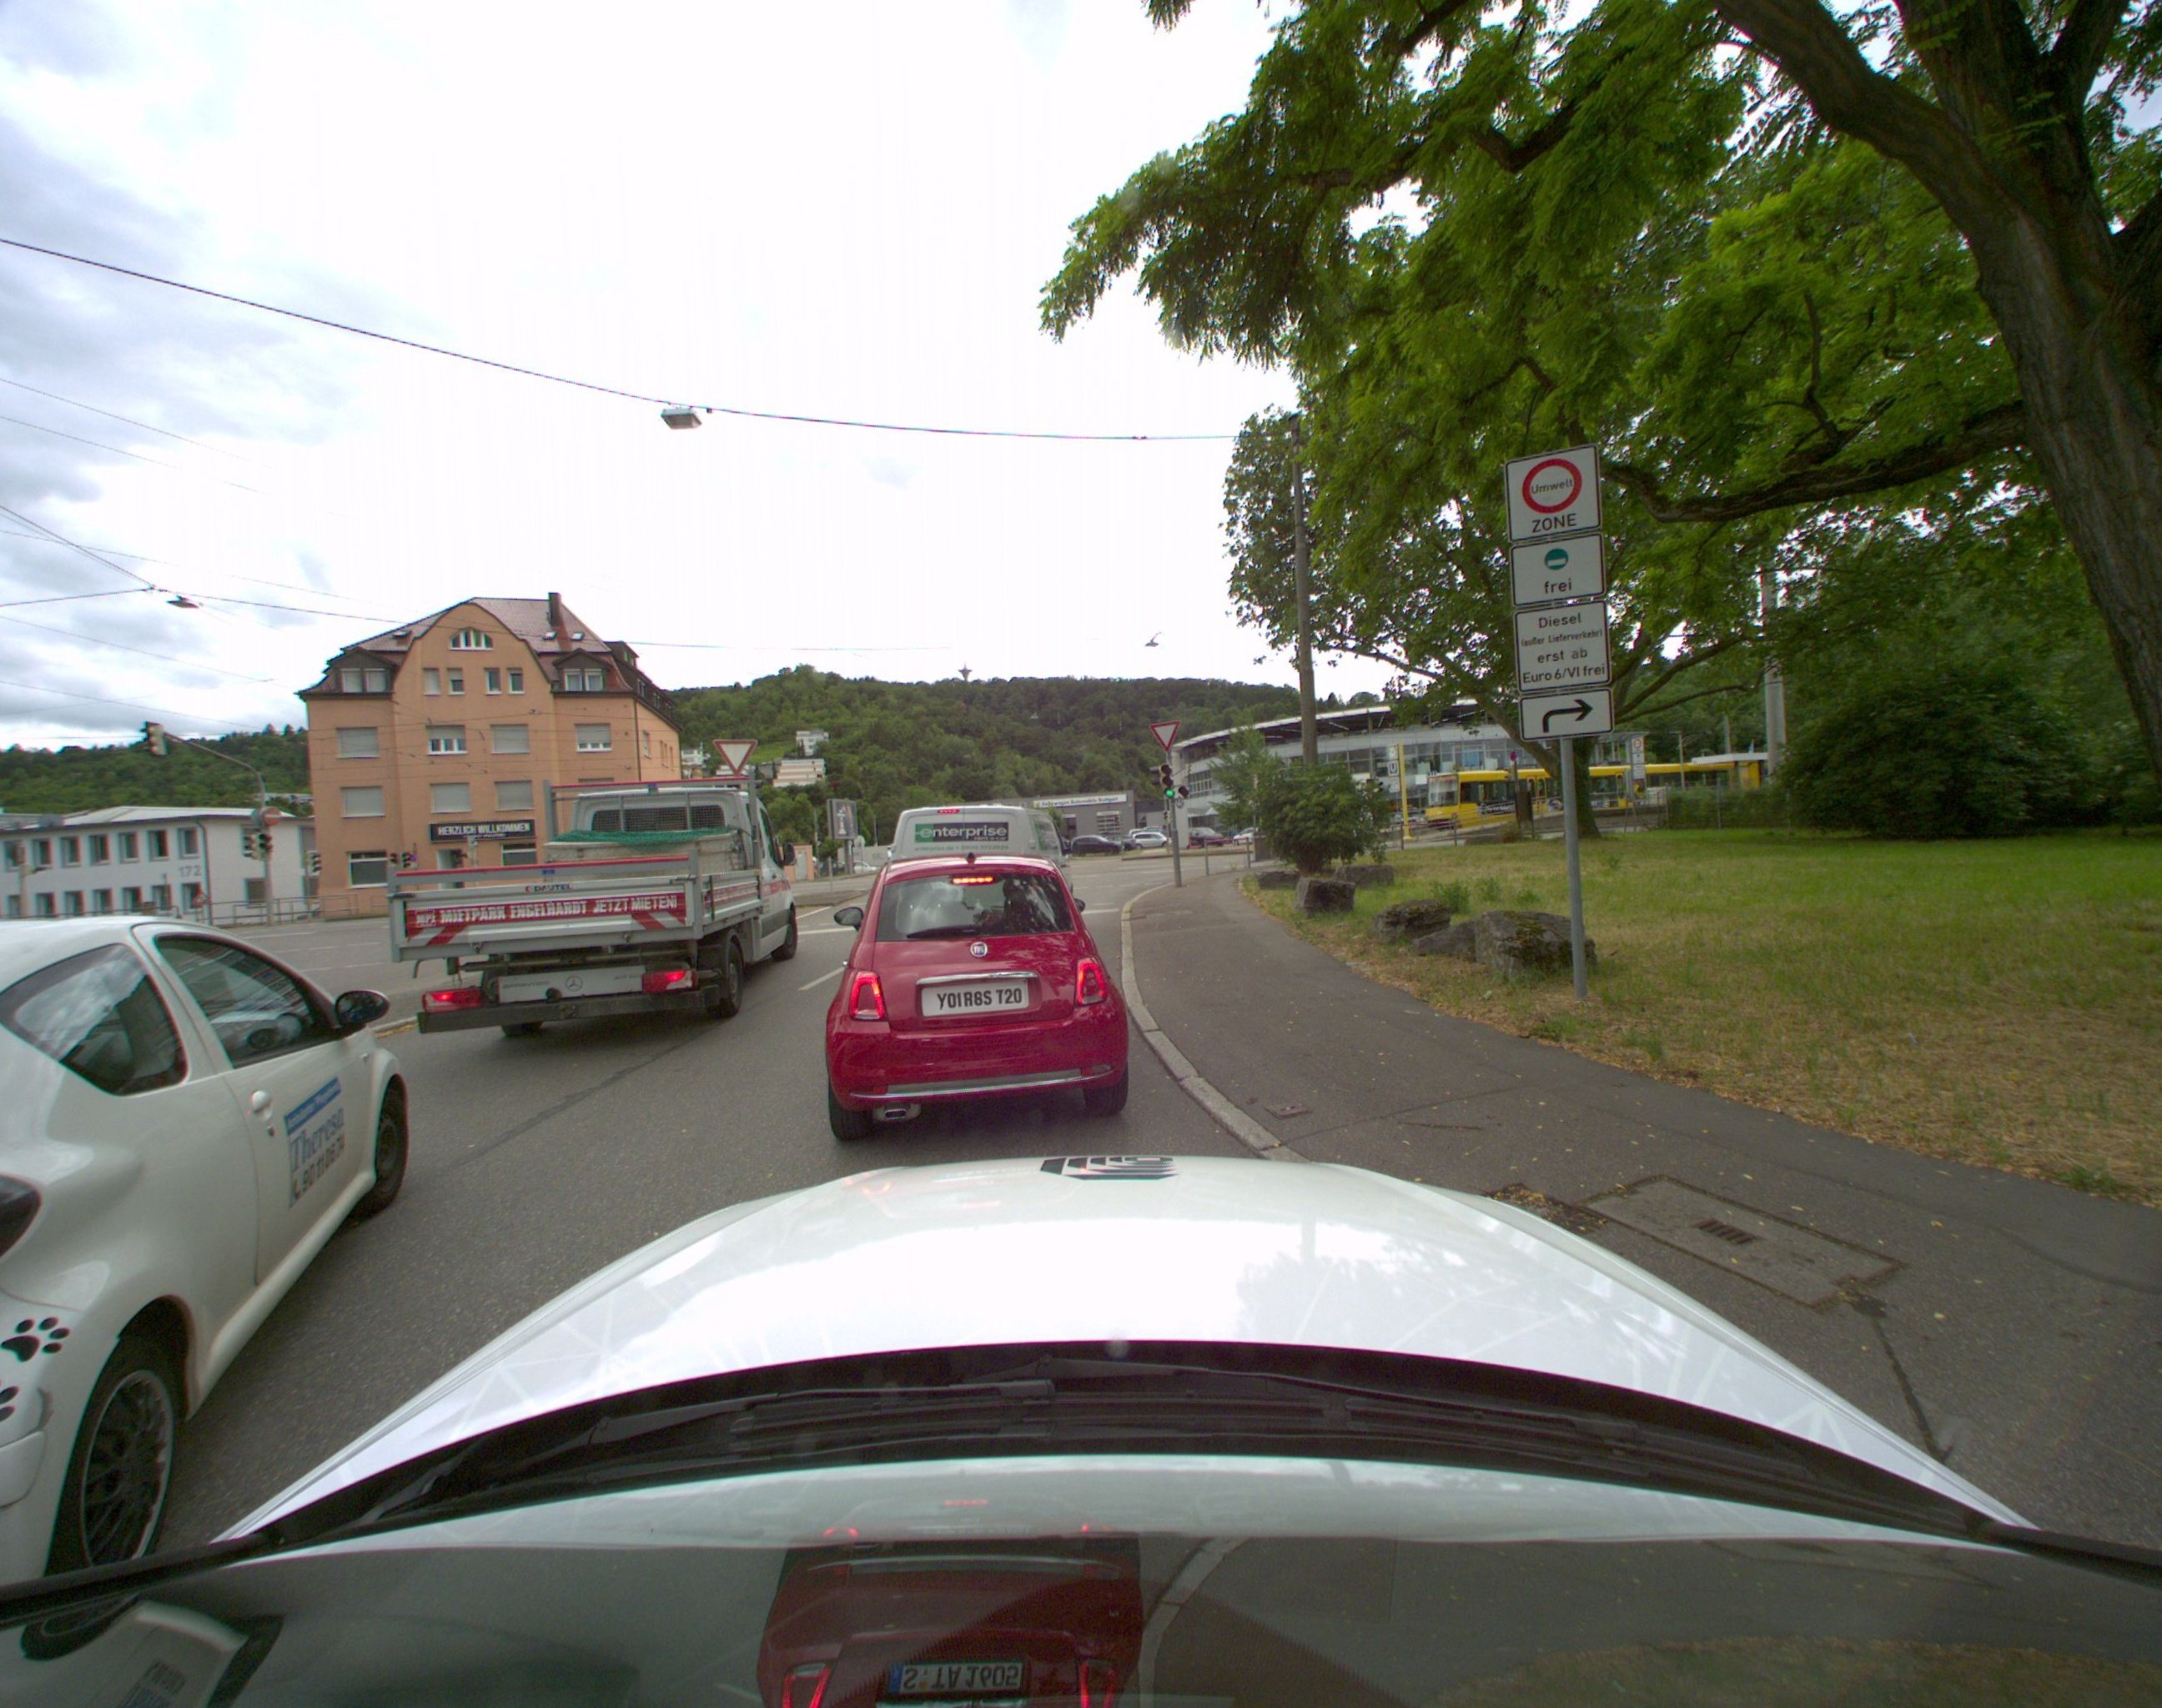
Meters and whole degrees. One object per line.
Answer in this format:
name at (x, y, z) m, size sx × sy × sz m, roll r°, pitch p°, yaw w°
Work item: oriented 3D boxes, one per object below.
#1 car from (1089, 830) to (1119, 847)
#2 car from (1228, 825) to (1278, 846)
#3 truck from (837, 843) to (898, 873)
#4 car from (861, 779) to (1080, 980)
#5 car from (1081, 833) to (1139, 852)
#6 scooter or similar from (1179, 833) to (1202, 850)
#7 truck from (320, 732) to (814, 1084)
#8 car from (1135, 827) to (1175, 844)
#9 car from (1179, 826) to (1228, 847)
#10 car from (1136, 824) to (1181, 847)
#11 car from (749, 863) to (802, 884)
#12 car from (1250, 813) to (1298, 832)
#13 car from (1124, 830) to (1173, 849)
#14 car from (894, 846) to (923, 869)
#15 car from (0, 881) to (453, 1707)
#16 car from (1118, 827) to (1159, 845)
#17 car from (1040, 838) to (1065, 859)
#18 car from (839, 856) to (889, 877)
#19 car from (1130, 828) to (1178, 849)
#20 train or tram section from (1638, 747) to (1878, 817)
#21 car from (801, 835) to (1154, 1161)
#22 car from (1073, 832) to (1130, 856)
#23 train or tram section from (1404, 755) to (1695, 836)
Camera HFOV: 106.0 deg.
car at (2.859, -1.886, 99.725) m, size 1.974 × 1.815 × 4.026 m, roll -3°, pitch 1°, yaw 29°
car at (14.070, -1.517, 66.709) m, size 1.781 × 1.500 × 3.984 m, roll -4°, pitch 1°, yaw -29°
truck at (-20.114, 0.365, 76.717) m, size 5.211 × 2.393 × 1.983 m, roll -4°, pitch 1°, yaw -26°
car at (-1.245, 0.237, 11.490) m, size 1.981 × 2.106 × 4.767 m, roll -4°, pitch 1°, yaw 4°
car at (2.560, -0.978, 70.712) m, size 4.636 × 1.327 × 1.783 m, roll -4°, pitch 1°, yaw 15°
scooter or similar at (8.382, -0.971, 62.286) m, size 1.658 × 1.177 × 0.469 m, roll -4°, pitch 1°, yaw 9°
truck at (-4.693, 0.340, 8.978) m, size 2.423 × 2.397 × 6.006 m, roll -4°, pitch 1°, yaw -11°
car at (9.194, -2.321, 101.120) m, size 4.774 × 1.802 × 1.778 m, roll -4°, pitch 1°, yaw 4°
car at (9.736, -1.378, 65.072) m, size 1.782 × 1.500 × 3.843 m, roll -4°, pitch 1°, yaw -31°
car at (8.485, -2.046, 89.545) m, size 4.774 × 2.156 × 2.237 m, roll -4°, pitch 1°, yaw 4°
car at (-26.770, 1.674, 71.546) m, size 4.218 × 1.533 × 1.763 m, roll -4°, pitch 1°, yaw -20°
car at (18.812, -3.058, 79.525) m, size 1.807 × 1.491 × 4.163 m, roll -5°, pitch 1°, yaw -43°
car at (6.714, -1.460, 81.118) m, size 4.774 × 1.533 × 1.778 m, roll -4°, pitch 1°, yaw 4°
car at (-14.540, 0.256, 68.930) m, size 1.858 × 1.817 × 4.392 m, roll -4°, pitch 1°, yaw -7°
car at (-3.297, 0.881, 2.463) m, size 1.649 × 1.432 × 3.398 m, roll -5°, pitch 1°, yaw -30°
car at (6.818, -2.134, 96.278) m, size 4.774 × 1.802 × 1.778 m, roll -4°, pitch 1°, yaw 4°
car at (-2.717, -0.586, 79.096) m, size 1.985 × 1.815 × 4.004 m, roll -4°, pitch 1°, yaw 3°
car at (-19.584, 1.131, 73.624) m, size 4.209 × 1.533 × 1.767 m, roll -4°, pitch 1°, yaw -14°
car at (7.593, -1.597, 84.687) m, size 4.774 × 1.802 × 1.778 m, roll -4°, pitch 1°, yaw 4°
train or tram section at (45.480, -4.882, 54.378) m, size 19.184 × 3.665 × 3.255 m, roll -4°, pitch 1°, yaw -21°
car at (-0.739, 0.664, 5.669) m, size 1.638 × 1.456 × 3.420 m, roll -3°, pitch 1°, yaw -9°
car at (1.531, -0.737, 61.527) m, size 3.837 × 1.500 × 1.784 m, roll -3°, pitch 1°, yaw 18°
train or tram section at (27.673, -3.522, 47.509) m, size 19.184 × 3.665 × 3.255 m, roll -4°, pitch 1°, yaw -21°
